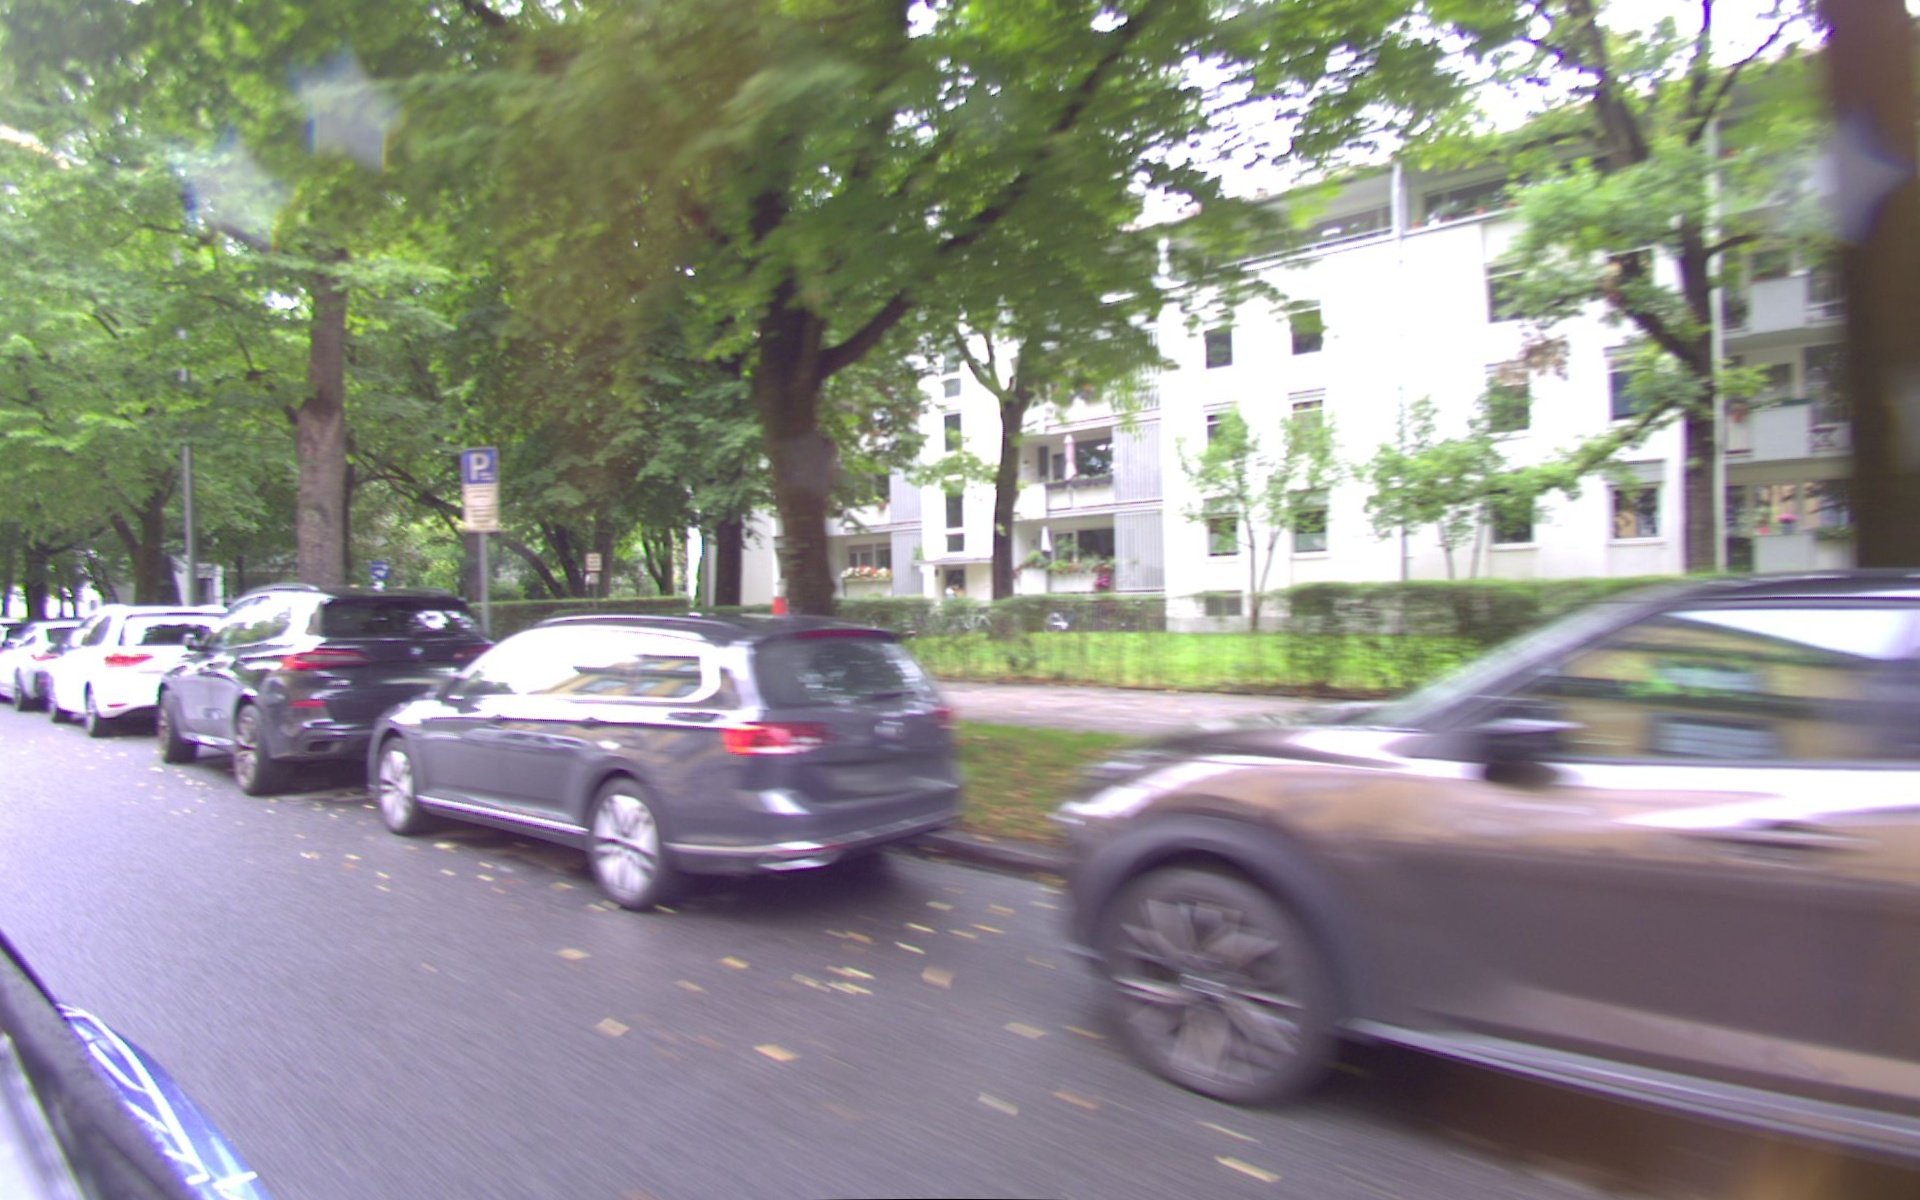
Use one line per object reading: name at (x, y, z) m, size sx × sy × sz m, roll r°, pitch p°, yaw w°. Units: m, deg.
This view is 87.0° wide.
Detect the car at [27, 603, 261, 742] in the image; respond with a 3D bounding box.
car at (-11.451, 0.905, 14.078) m, size 4.520 × 1.634 × 1.747 m, roll -1°, pitch -3°, yaw 41°

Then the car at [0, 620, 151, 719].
car at (-16.050, 1.116, 17.858) m, size 4.992 × 1.480 × 1.791 m, roll -1°, pitch 0°, yaw 39°

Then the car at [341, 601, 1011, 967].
car at (-2.058, 0.775, 6.288) m, size 4.692 × 1.462 × 1.701 m, roll -1°, pitch 0°, yaw 41°

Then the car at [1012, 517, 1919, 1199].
car at (2.469, 0.624, 2.623) m, size 4.481 × 1.586 × 1.768 m, roll -2°, pitch -1°, yaw 39°

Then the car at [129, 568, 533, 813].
car at (-6.314, 0.718, 9.883) m, size 4.917 × 1.810 × 1.973 m, roll -1°, pitch -2°, yaw 41°

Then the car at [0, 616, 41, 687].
car at (-23.736, 1.200, 24.277) m, size 4.578 × 1.609 × 1.767 m, roll -1°, pitch 0°, yaw 38°

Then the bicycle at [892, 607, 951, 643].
bicycle at (-1.238, 0.811, 32.435) m, size 1.899 × 1.116 × 0.635 m, roll -2°, pitch 0°, yaw 36°

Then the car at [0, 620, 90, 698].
car at (-19.956, 1.183, 21.354) m, size 4.098 × 1.480 × 1.656 m, roll -1°, pitch 0°, yaw 38°
